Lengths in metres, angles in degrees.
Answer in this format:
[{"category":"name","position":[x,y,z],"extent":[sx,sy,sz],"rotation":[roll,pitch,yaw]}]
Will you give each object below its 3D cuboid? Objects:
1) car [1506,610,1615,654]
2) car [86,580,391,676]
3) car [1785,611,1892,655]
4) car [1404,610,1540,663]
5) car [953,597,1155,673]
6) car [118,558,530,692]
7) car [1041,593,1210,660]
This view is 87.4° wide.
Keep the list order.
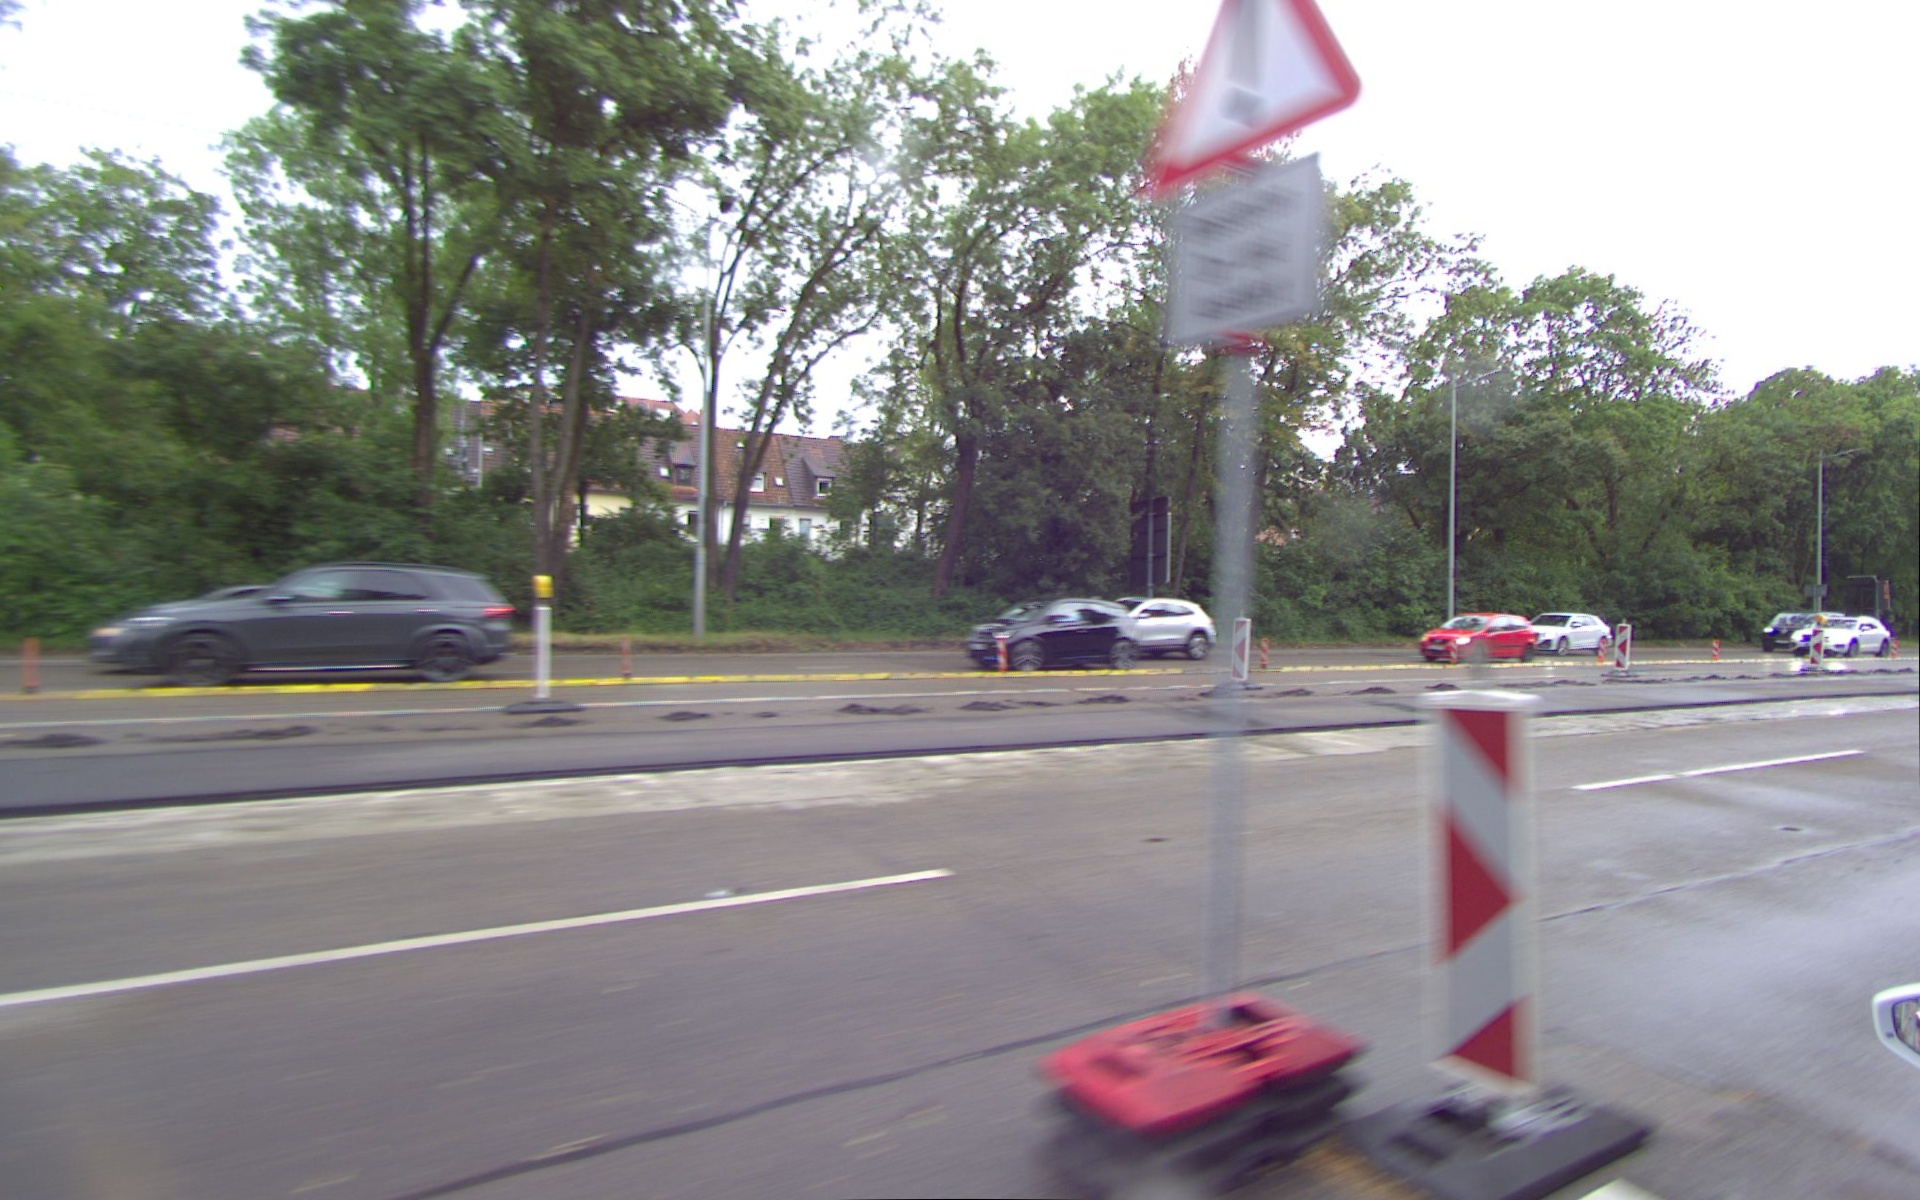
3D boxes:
[{"category":"car","position":[21.884,1.162,36.581],"extent":[4.100,1.516,1.671],"rotation":[1,-1,-30]},{"category":"car","position":[-11.833,0.454,16.823],"extent":[3.952,1.439,1.638],"rotation":[1,0,-30]},{"category":"car","position":[36.231,1.366,41.397],"extent":[4.836,1.683,1.881],"rotation":[1,0,-30]},{"category":"car","position":[15.060,1.058,29.531],"extent":[3.965,1.419,1.671],"rotation":[1,0,-30]},{"category":"car","position":[2.087,0.737,21.988],"extent":[4.146,1.507,1.768],"rotation":[1,0,-30]},{"category":"car","position":[-9.312,0.348,15.209],"extent":[4.953,1.748,2.012],"rotation":[1,1,-30]},{"category":"car","position":[4.426,0.689,26.632],"extent":[4.368,1.648,1.694],"rotation":[1,0,-31]}]
